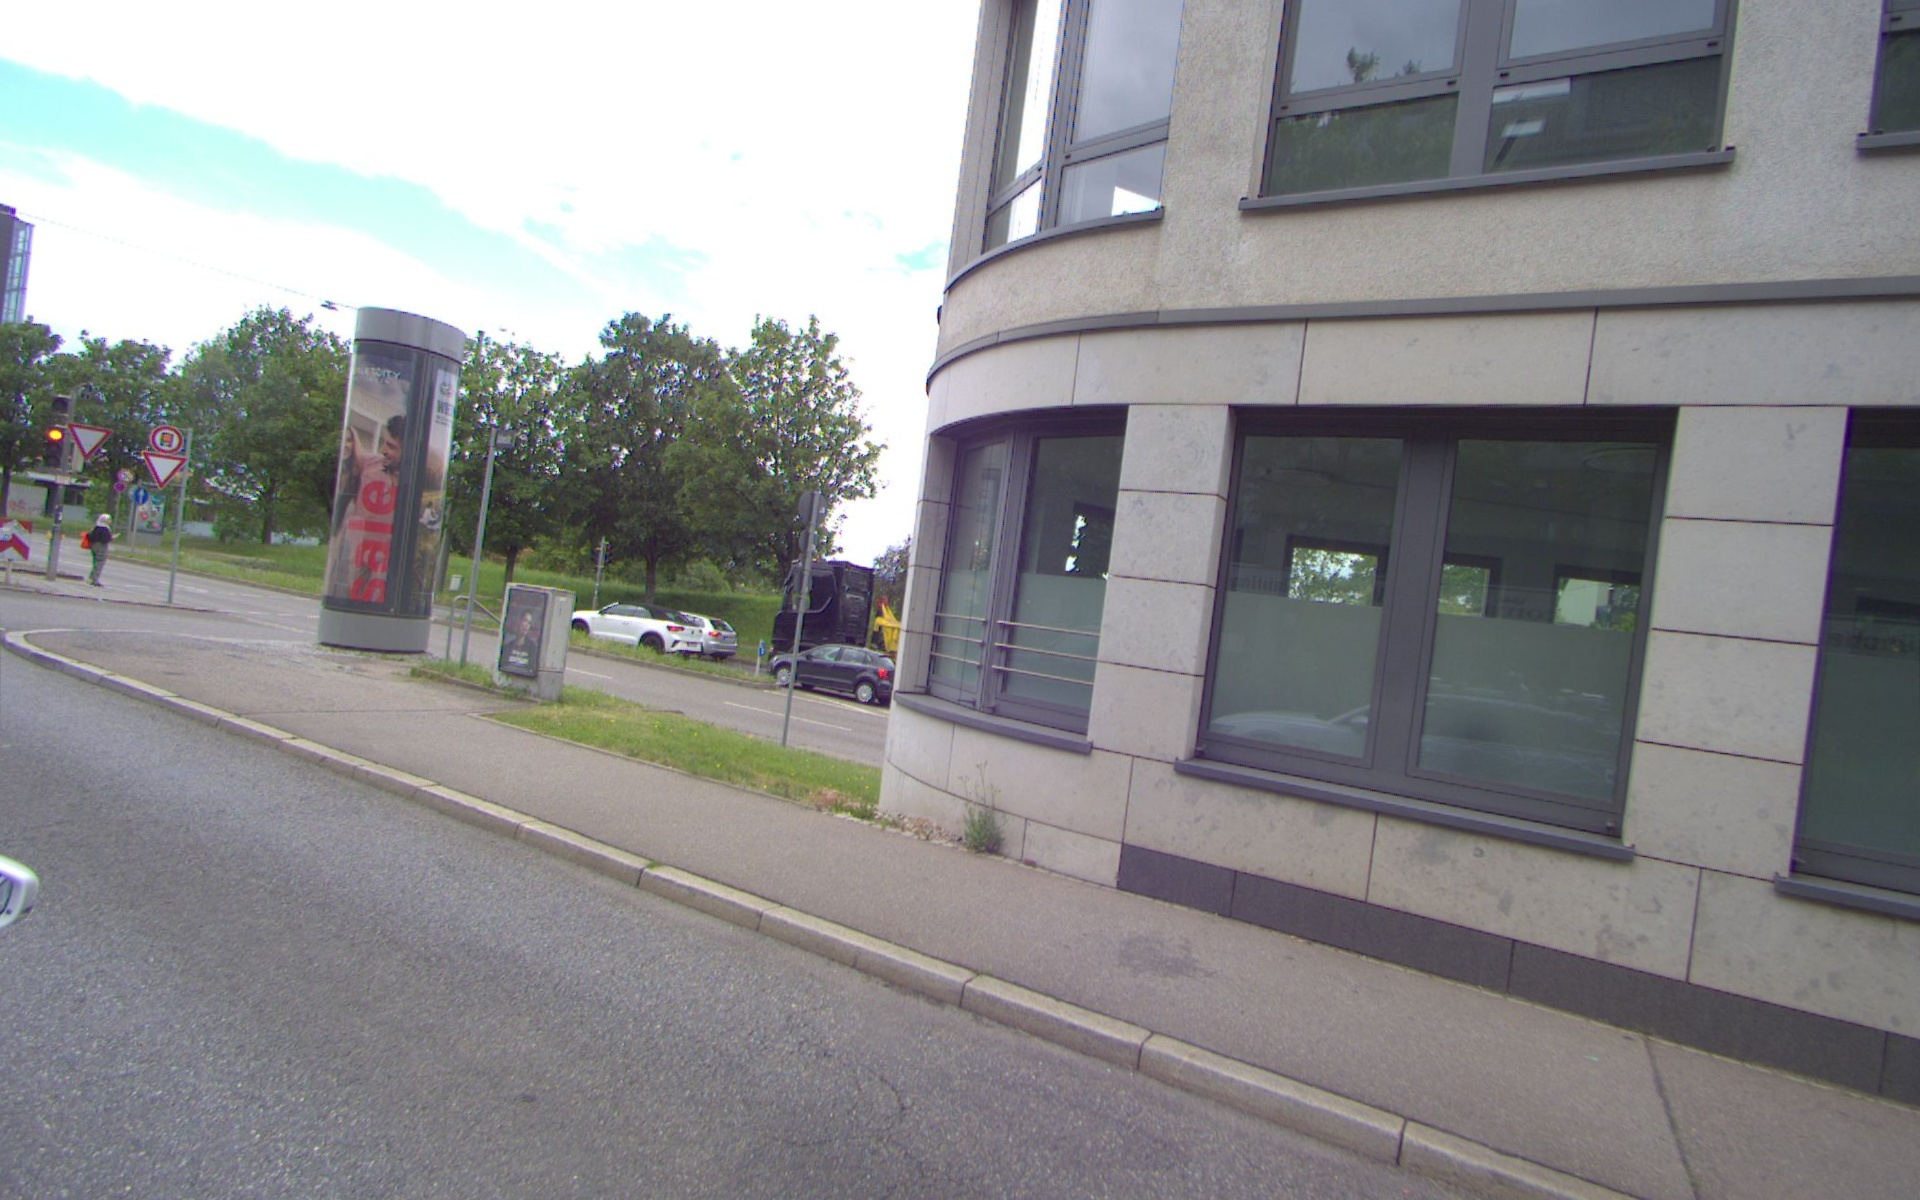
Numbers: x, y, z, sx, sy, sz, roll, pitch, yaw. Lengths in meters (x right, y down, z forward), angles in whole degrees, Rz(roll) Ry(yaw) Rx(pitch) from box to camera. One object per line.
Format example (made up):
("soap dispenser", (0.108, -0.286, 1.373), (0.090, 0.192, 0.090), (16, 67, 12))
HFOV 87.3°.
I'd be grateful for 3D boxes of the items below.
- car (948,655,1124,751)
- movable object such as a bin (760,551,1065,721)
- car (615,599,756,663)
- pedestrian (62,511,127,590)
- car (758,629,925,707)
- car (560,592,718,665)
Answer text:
("car", (1.972, 2.614, 25.723), (3.925, 1.723, 2.003), (8, -3, 19))
("movable object such as a bin", (-1.439, 1.029, 30.575), (8.410, 3.949, 2.870), (7, -1, 18))
("car", (-9.147, 1.044, 33.614), (3.925, 1.469, 2.003), (8, -3, 19))
("pedestrian", (-18.882, -1.066, 21.958), (0.564, 1.602, 0.739), (9, -2, -8))
("car", (-3.243, 1.886, 27.744), (3.925, 1.469, 2.003), (8, -3, 19))
("car", (-9.539, 0.857, 29.985), (3.925, 1.469, 2.003), (8, -3, 19))
